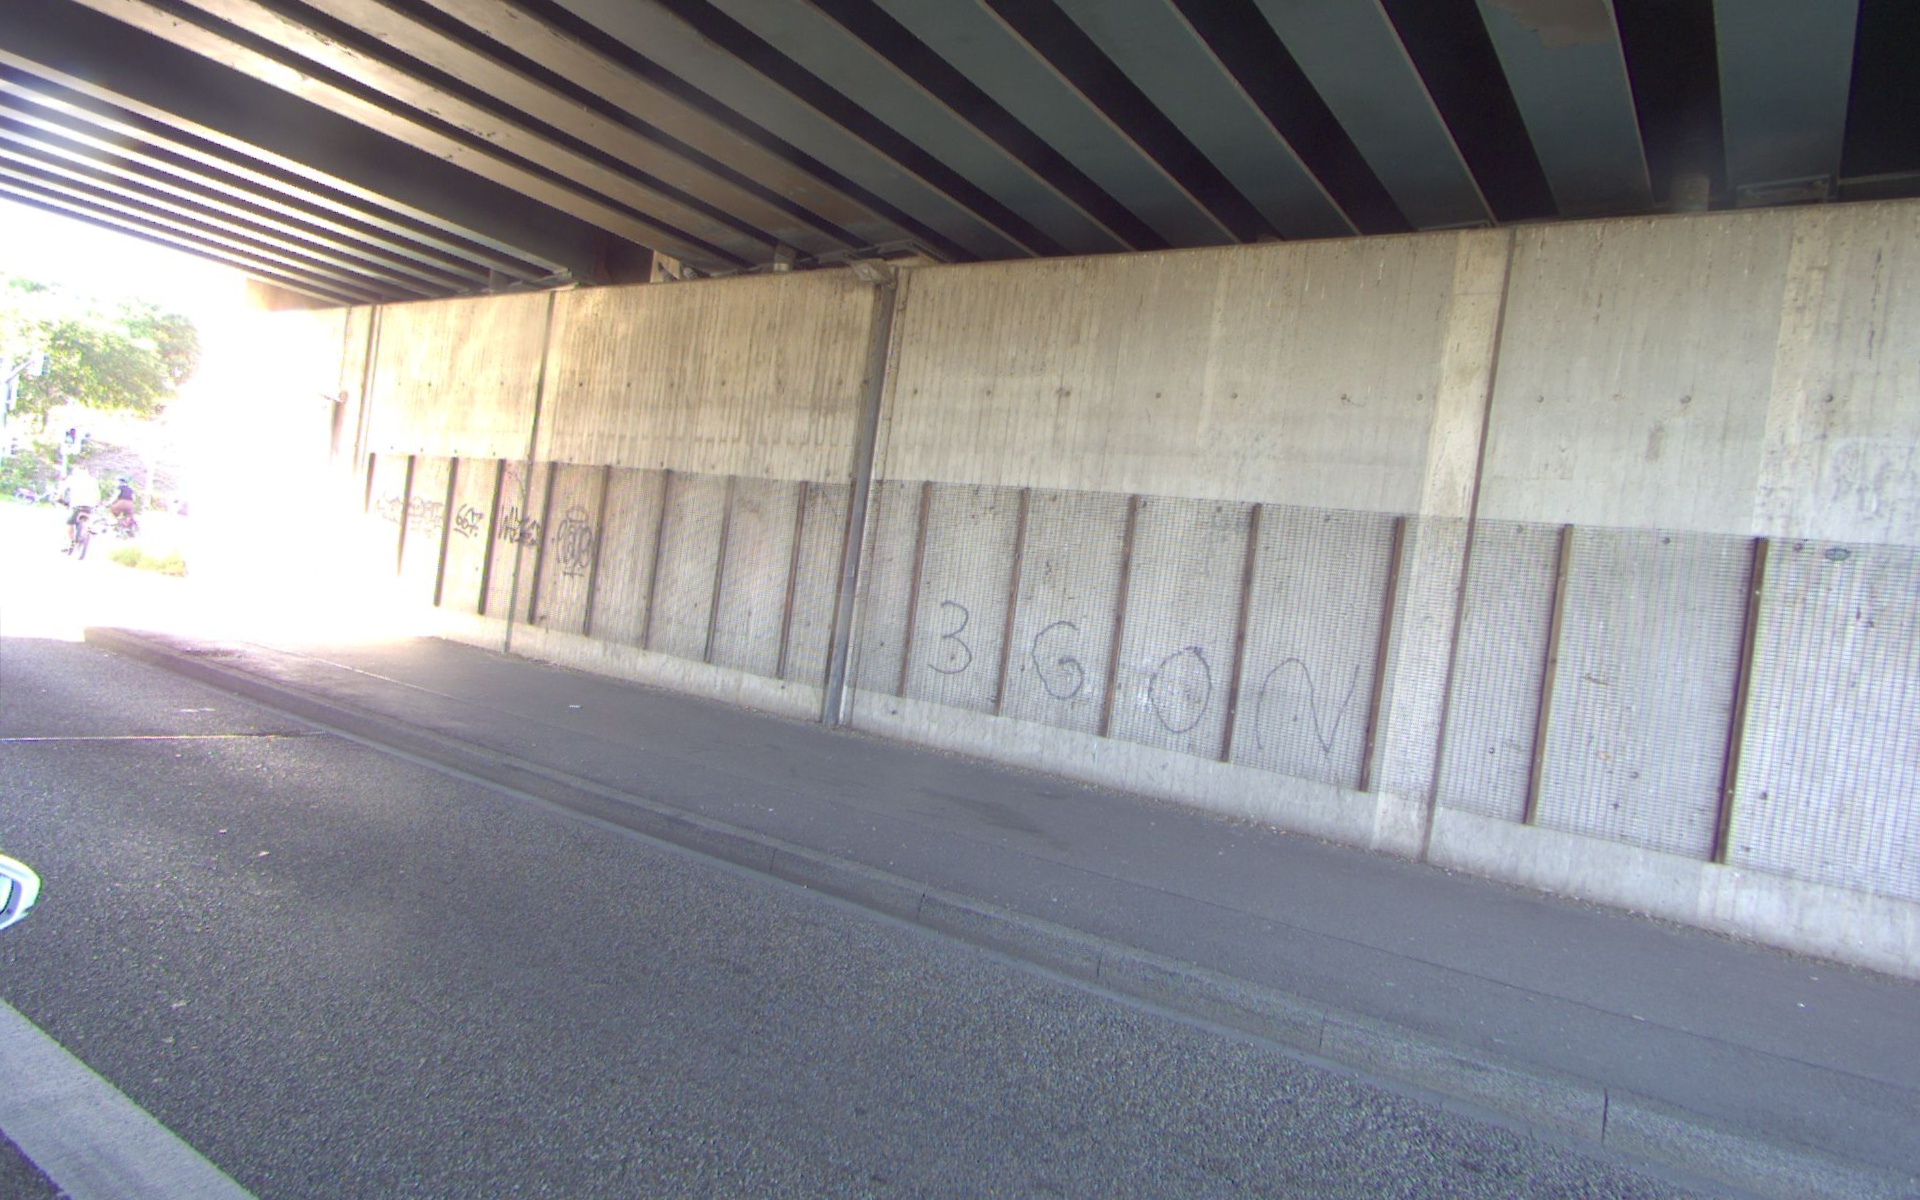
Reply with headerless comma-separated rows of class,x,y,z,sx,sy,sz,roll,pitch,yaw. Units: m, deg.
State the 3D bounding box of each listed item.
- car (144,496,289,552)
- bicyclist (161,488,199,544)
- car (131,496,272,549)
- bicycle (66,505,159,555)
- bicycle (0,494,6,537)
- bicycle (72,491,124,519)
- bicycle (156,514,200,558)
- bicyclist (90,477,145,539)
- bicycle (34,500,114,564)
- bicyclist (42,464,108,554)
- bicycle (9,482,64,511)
car,-31.322,-3.182,42.505,1.801,1.531,4.548,6,-3,39
bicyclist,-22.644,-2.444,29.207,0.610,1.499,0.648,8,0,43
car,-33.310,-3.375,44.283,1.801,1.531,4.548,6,-3,39
bicycle,-22.442,-1.858,26.647,2.016,1.035,0.674,7,-1,11
bicycle,-18.830,-1.564,19.070,1.722,1.035,0.592,6,-1,33
bicycle,-41.005,-4.521,47.861,0.586,1.035,1.743,6,-2,43
bicycle,-22.687,-1.861,29.188,1.726,1.036,0.666,10,1,43
bicyclist,-22.306,-2.424,26.635,0.737,1.491,0.668,7,-1,11
bicycle,-16.659,-1.283,18.900,1.722,1.035,0.592,6,-1,33
bicyclist,-16.579,-1.703,18.855,0.756,1.566,0.592,6,-1,32
bicycle,-42.961,-4.796,46.810,0.585,1.035,1.744,6,-2,40
